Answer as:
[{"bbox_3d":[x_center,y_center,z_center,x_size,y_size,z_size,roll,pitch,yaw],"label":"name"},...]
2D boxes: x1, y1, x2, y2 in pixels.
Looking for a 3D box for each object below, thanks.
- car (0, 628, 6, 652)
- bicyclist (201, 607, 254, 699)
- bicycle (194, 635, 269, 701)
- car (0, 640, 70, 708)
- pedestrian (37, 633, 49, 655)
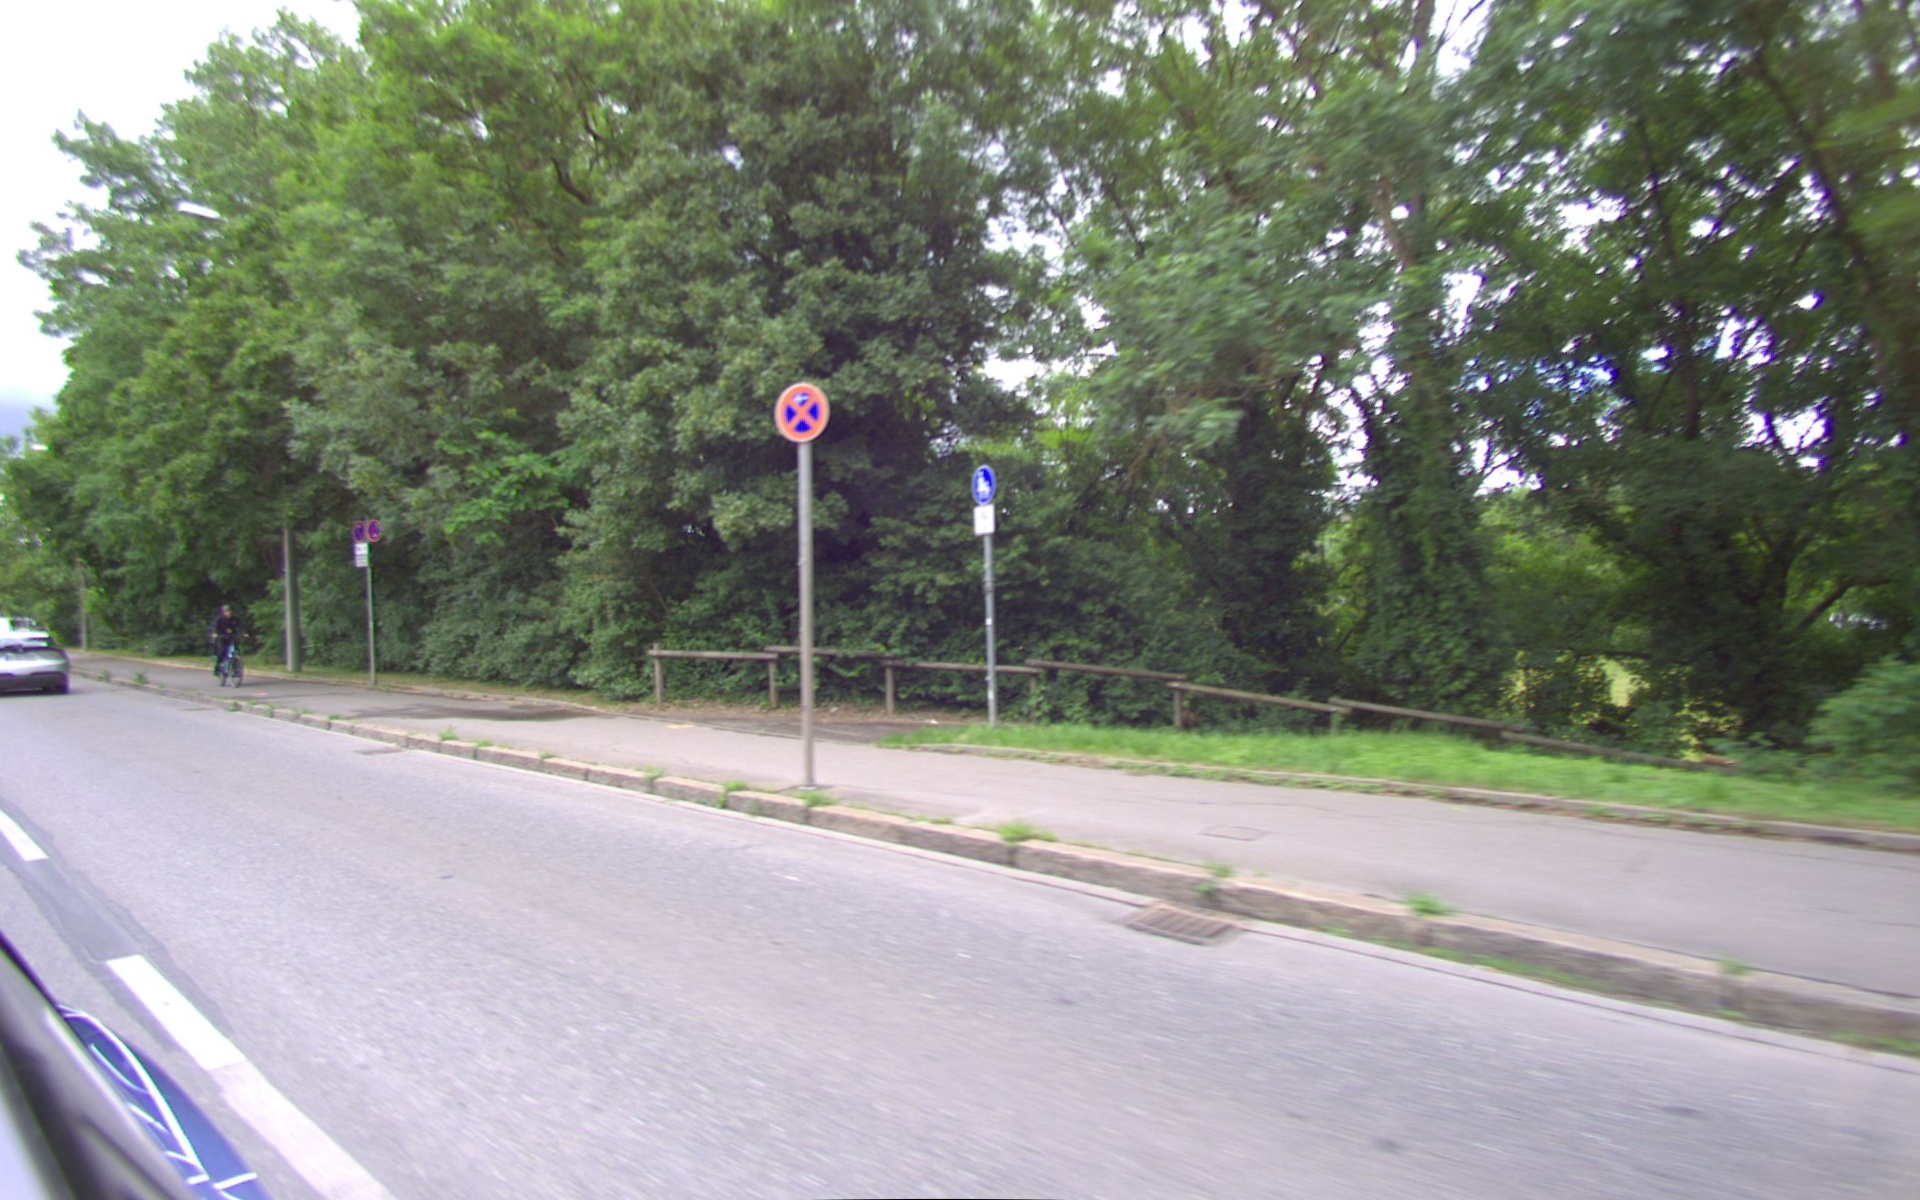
[{"bbox_3d":[-105.759,4.415,110.627,5.896,2.646,1.971,-3,-3,44],"label":"car"},{"bbox_3d":[-16.343,1.172,22.575,0.834,1.962,0.680,-2,0,38],"label":"bicyclist"},{"bbox_3d":[-16.183,1.484,22.460,2.277,1.341,0.692,-2,1,38],"label":"bicycle"},{"bbox_3d":[-22.788,1.736,24.178,4.178,1.503,1.775,-3,-3,42],"label":"car"},{"bbox_3d":[-71.302,3.417,78.711,0.815,1.727,0.593,-3,0,44],"label":"pedestrian"}]
